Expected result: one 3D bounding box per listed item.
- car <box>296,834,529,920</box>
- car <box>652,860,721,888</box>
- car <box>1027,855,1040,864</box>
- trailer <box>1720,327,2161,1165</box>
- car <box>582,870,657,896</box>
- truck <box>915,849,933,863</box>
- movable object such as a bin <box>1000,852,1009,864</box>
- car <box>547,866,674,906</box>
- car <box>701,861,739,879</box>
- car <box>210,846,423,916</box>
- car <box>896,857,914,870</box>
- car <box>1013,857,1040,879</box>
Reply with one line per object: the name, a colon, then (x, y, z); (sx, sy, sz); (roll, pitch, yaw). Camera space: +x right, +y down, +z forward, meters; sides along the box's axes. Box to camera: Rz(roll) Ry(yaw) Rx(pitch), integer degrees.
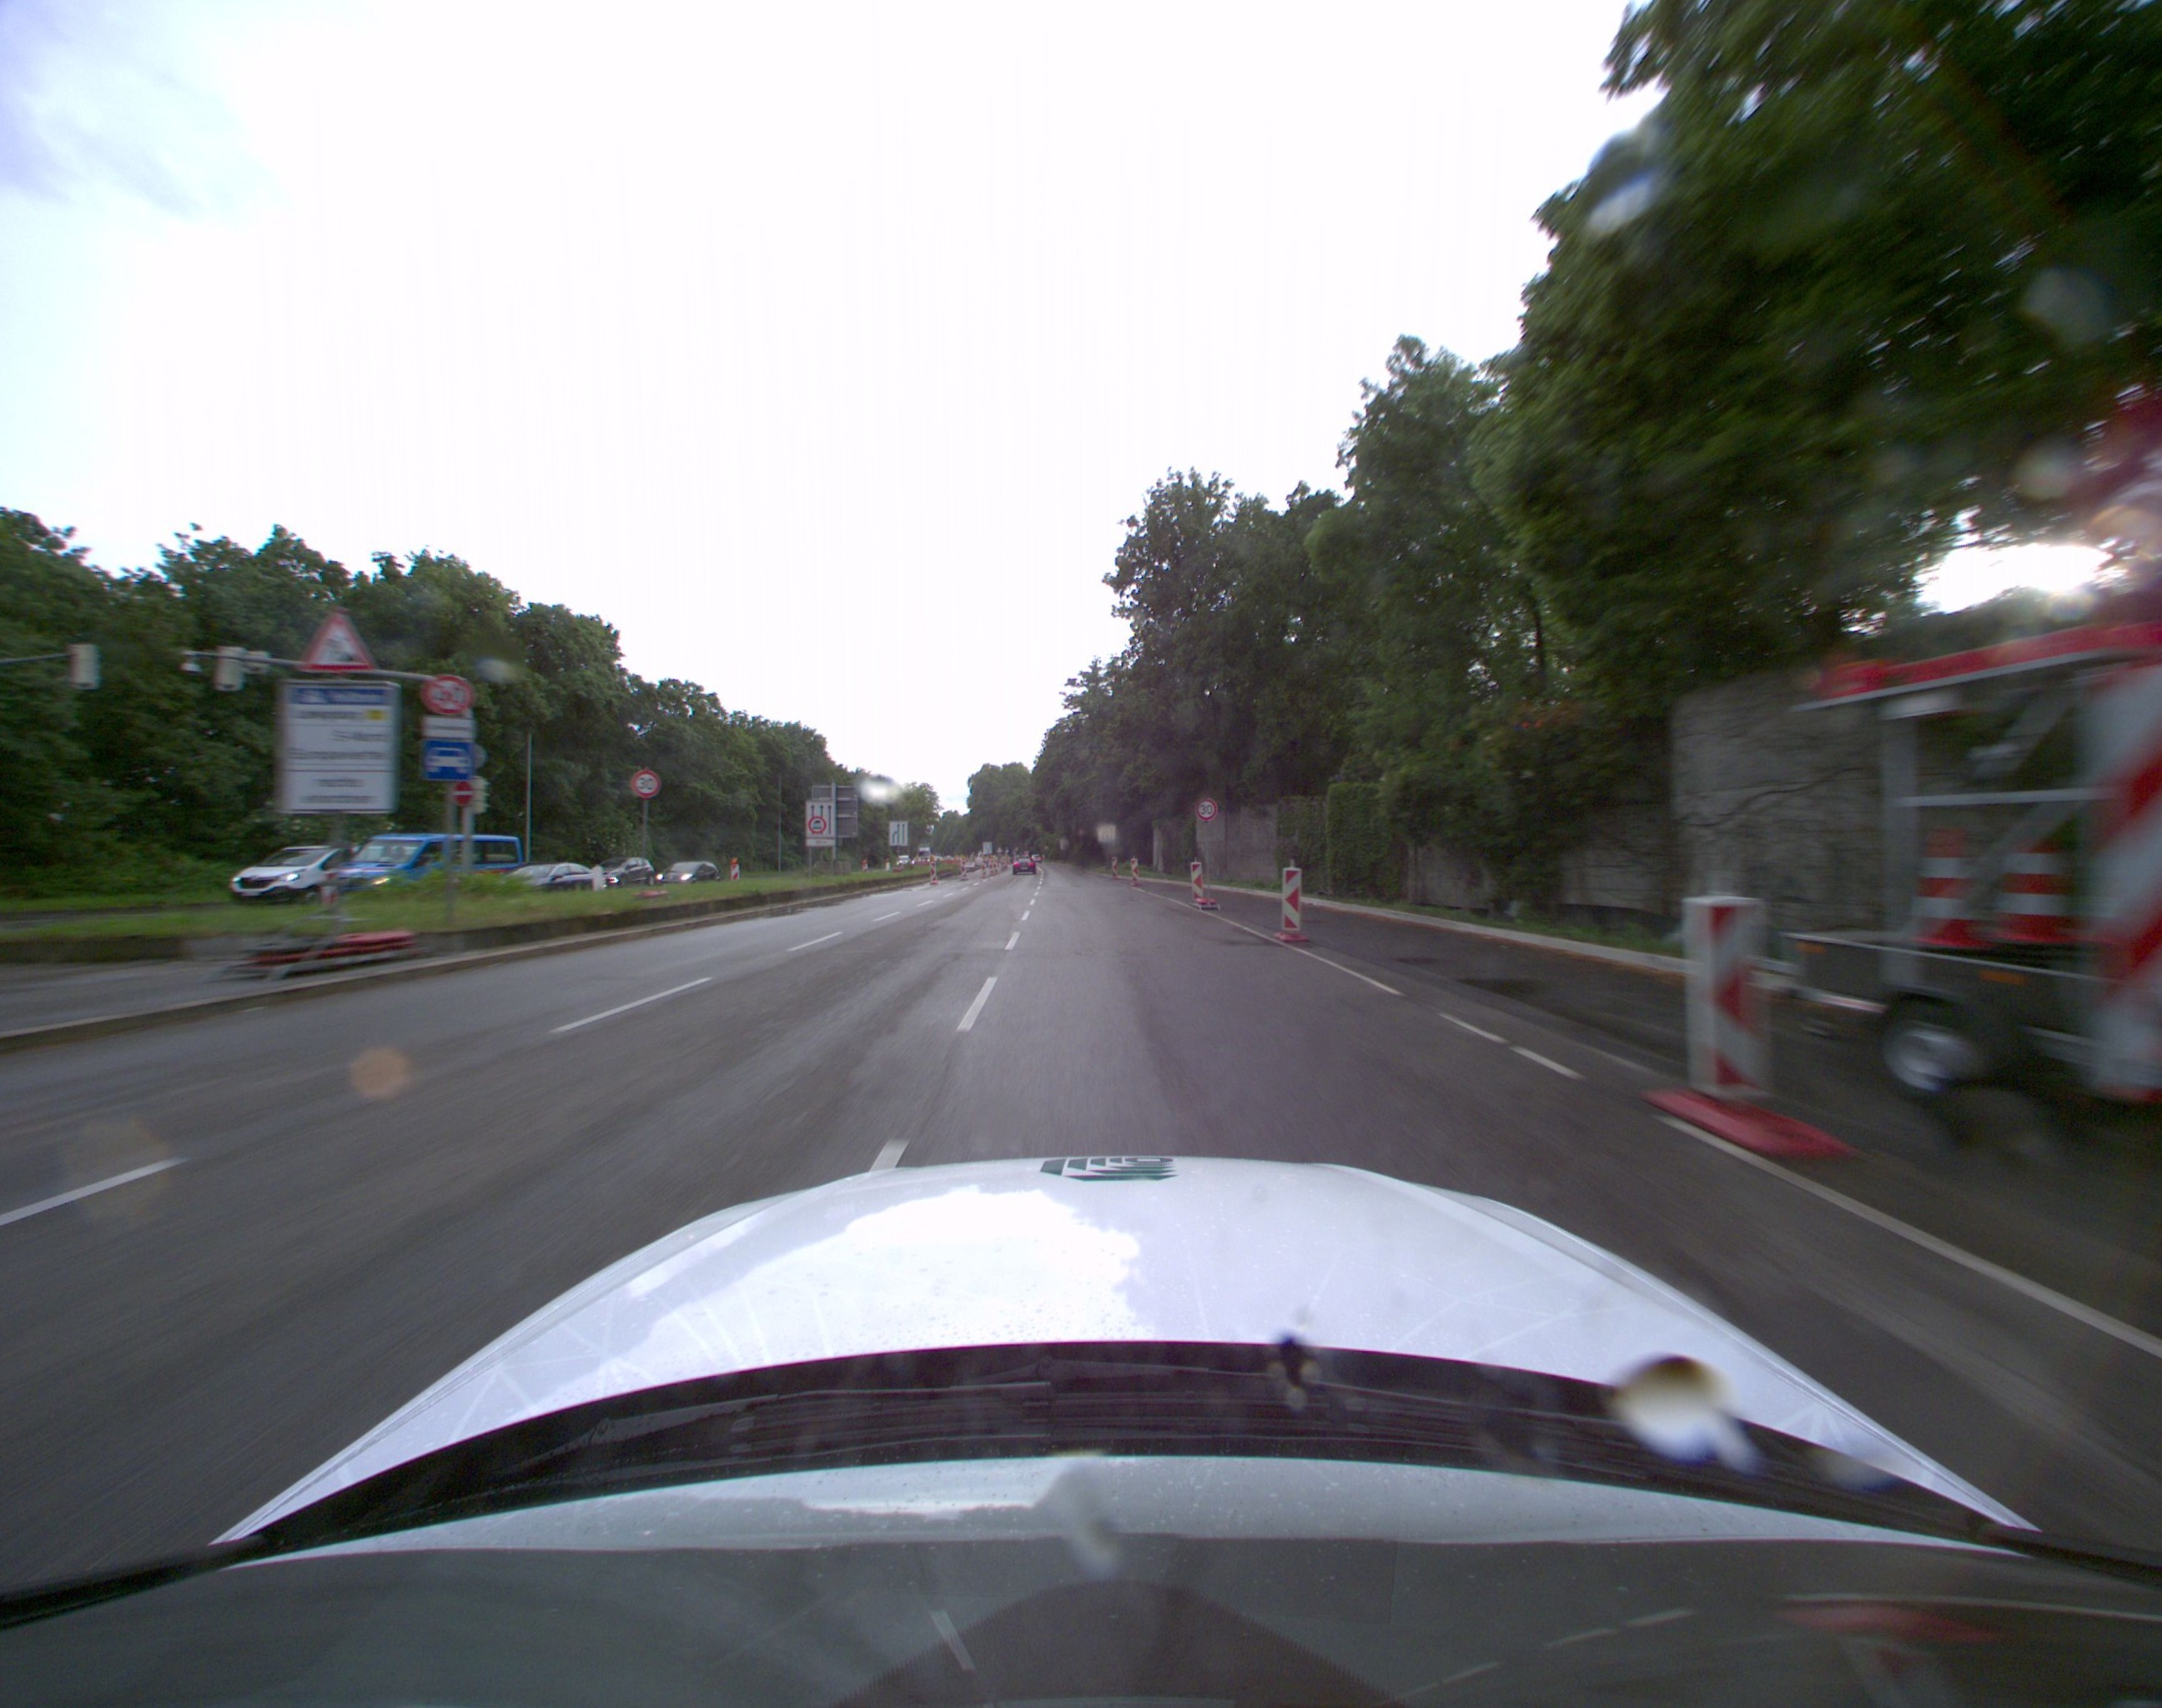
car: (-20.680, 0.596, 25.731); (2.188, 2.390, 6.243); (0, 1, 0)
car: (-17.375, 0.862, 36.035); (1.425, 1.200, 3.300); (0, 0, 0)
car: (-8.424, 0.994, 145.352); (1.913, 1.598, 4.820); (-1, 0, -8)
trailer: (5.757, -0.480, 3.044); (2.297, 3.589, 5.967); (-2, 0, 4)
car: (-23.462, 1.431, 41.539); (1.544, 1.200, 3.929); (0, 0, 0)
truck: (-35.200, 0.485, 182.913); (2.790, 3.148, 10.131); (-1, 0, -4)
movable object such as a bin: (-18.497, 0.903, 196.109); (1.746, 2.867, 3.523); (-2, 0, -9)
car: (-15.855, 1.045, 27.740); (1.543, 1.200, 4.647); (0, 0, 1)
car: (-23.819, 1.017, 53.833); (1.266, 1.085, 2.793); (0, 1, 0)
car: (-23.989, 0.748, 25.895); (2.028, 1.974, 4.989); (0, 1, 0)
car: (-25.923, 1.354, 120.067); (1.910, 1.781, 4.827); (-1, 0, -4)
car: (-4.409, 1.104, 65.808); (1.856, 1.491, 4.001); (0, 2, 0)
